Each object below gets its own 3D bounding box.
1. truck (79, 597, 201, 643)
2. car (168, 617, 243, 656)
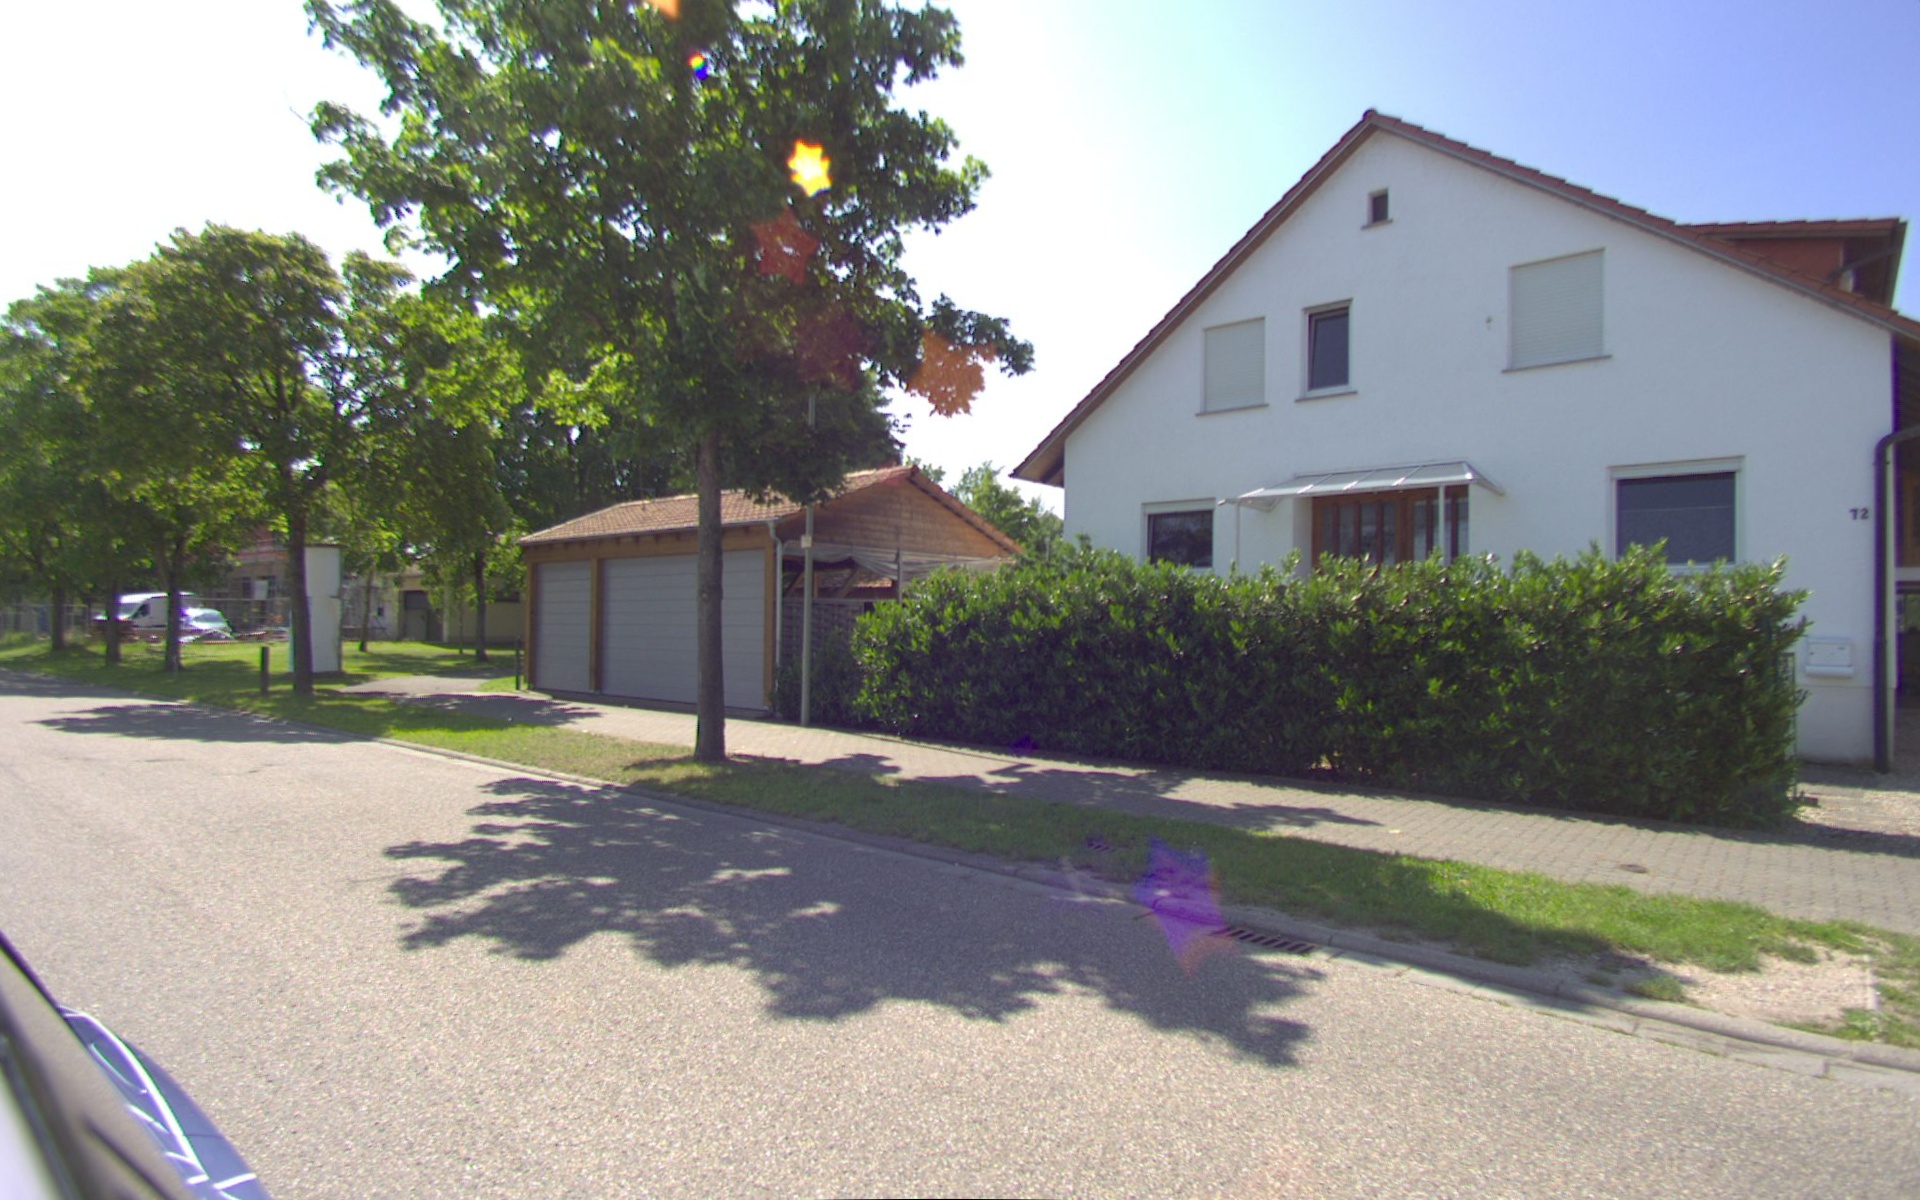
[{"bbox_3d":[-46.342,1.130,57.408,1.973,2.502,5.928,0,-1,2],"label":"truck"},{"bbox_3d":[-37.265,1.789,49.966,4.323,1.852,1.951,-1,-2,39],"label":"car"}]
